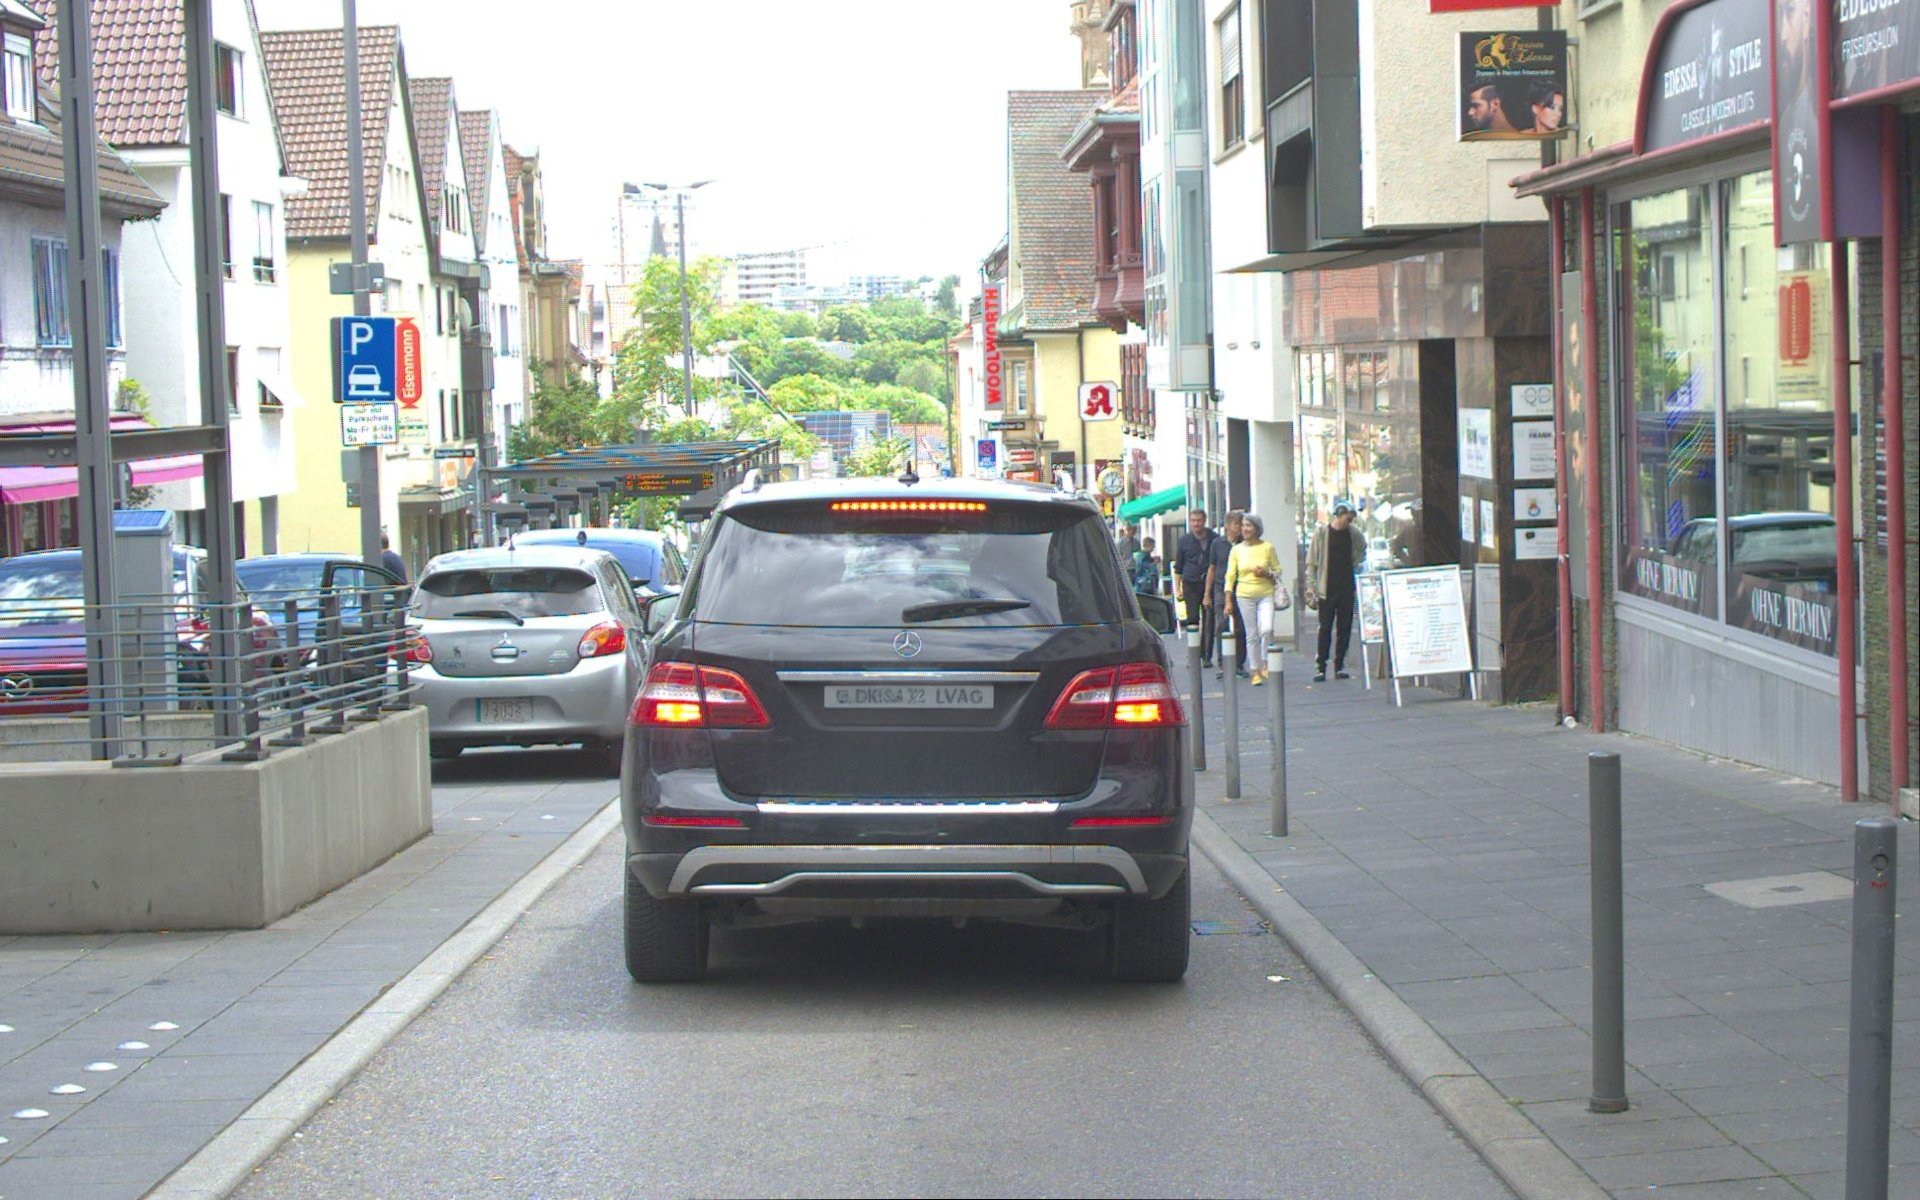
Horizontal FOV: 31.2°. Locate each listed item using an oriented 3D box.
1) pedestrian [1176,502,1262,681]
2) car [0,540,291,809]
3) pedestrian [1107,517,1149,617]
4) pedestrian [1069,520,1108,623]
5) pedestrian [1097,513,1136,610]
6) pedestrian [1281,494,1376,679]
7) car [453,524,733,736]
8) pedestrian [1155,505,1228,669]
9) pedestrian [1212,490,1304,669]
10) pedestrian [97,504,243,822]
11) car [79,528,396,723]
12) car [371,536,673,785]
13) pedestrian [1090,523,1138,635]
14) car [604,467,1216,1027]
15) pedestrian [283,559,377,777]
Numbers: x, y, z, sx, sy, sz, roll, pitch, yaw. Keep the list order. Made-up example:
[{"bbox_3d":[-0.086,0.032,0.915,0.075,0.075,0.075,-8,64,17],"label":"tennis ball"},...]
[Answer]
[{"bbox_3d":[2.594,-0.092,34.530,0.711,1.747,0.785,-3,1,-1],"label":"pedestrian"},{"bbox_3d":[-5.491,0.395,21.825,1.739,1.537,4.193,0,1,-1],"label":"car"},{"bbox_3d":[2.905,-0.572,59.466,0.573,1.683,0.566,-3,1,-7],"label":"pedestrian"},{"bbox_3d":[2.169,-0.482,58.059,0.542,1.720,0.528,-2,1,-7],"label":"pedestrian"},{"bbox_3d":[2.742,-0.668,60.242,0.573,1.683,0.566,1,1,-7],"label":"pedestrian"},{"bbox_3d":[3.491,-0.132,32.584,0.662,1.683,0.543,-5,1,-7],"label":"pedestrian"},{"bbox_3d":[-2.987,0.201,28.835,1.956,1.634,4.315,0,1,-1],"label":"car"},{"bbox_3d":[2.520,-0.150,37.417,0.711,1.747,0.787,-1,1,-1],"label":"pedestrian"},{"bbox_3d":[2.806,-0.197,32.424,0.711,1.625,0.835,-3,1,-1],"label":"pedestrian"},{"bbox_3d":[-4.243,0.319,18.511,0.533,1.666,0.901,0,1,2],"label":"pedestrian"},{"bbox_3d":[-5.995,0.159,28.934,1.739,1.470,3.884,1,2,2],"label":"car"},{"bbox_3d":[-2.863,0.348,23.117,1.620,1.527,3.670,0,1,-1],"label":"car"},{"bbox_3d":[2.339,-0.325,52.229,0.621,1.683,0.566,1,1,-7],"label":"pedestrian"},{"bbox_3d":[-0.246,0.433,12.776,1.900,1.741,4.001,1,1,-3],"label":"car"},{"bbox_3d":[-4.223,0.448,23.062,0.466,1.427,0.492,-3,1,-1],"label":"pedestrian"}]
